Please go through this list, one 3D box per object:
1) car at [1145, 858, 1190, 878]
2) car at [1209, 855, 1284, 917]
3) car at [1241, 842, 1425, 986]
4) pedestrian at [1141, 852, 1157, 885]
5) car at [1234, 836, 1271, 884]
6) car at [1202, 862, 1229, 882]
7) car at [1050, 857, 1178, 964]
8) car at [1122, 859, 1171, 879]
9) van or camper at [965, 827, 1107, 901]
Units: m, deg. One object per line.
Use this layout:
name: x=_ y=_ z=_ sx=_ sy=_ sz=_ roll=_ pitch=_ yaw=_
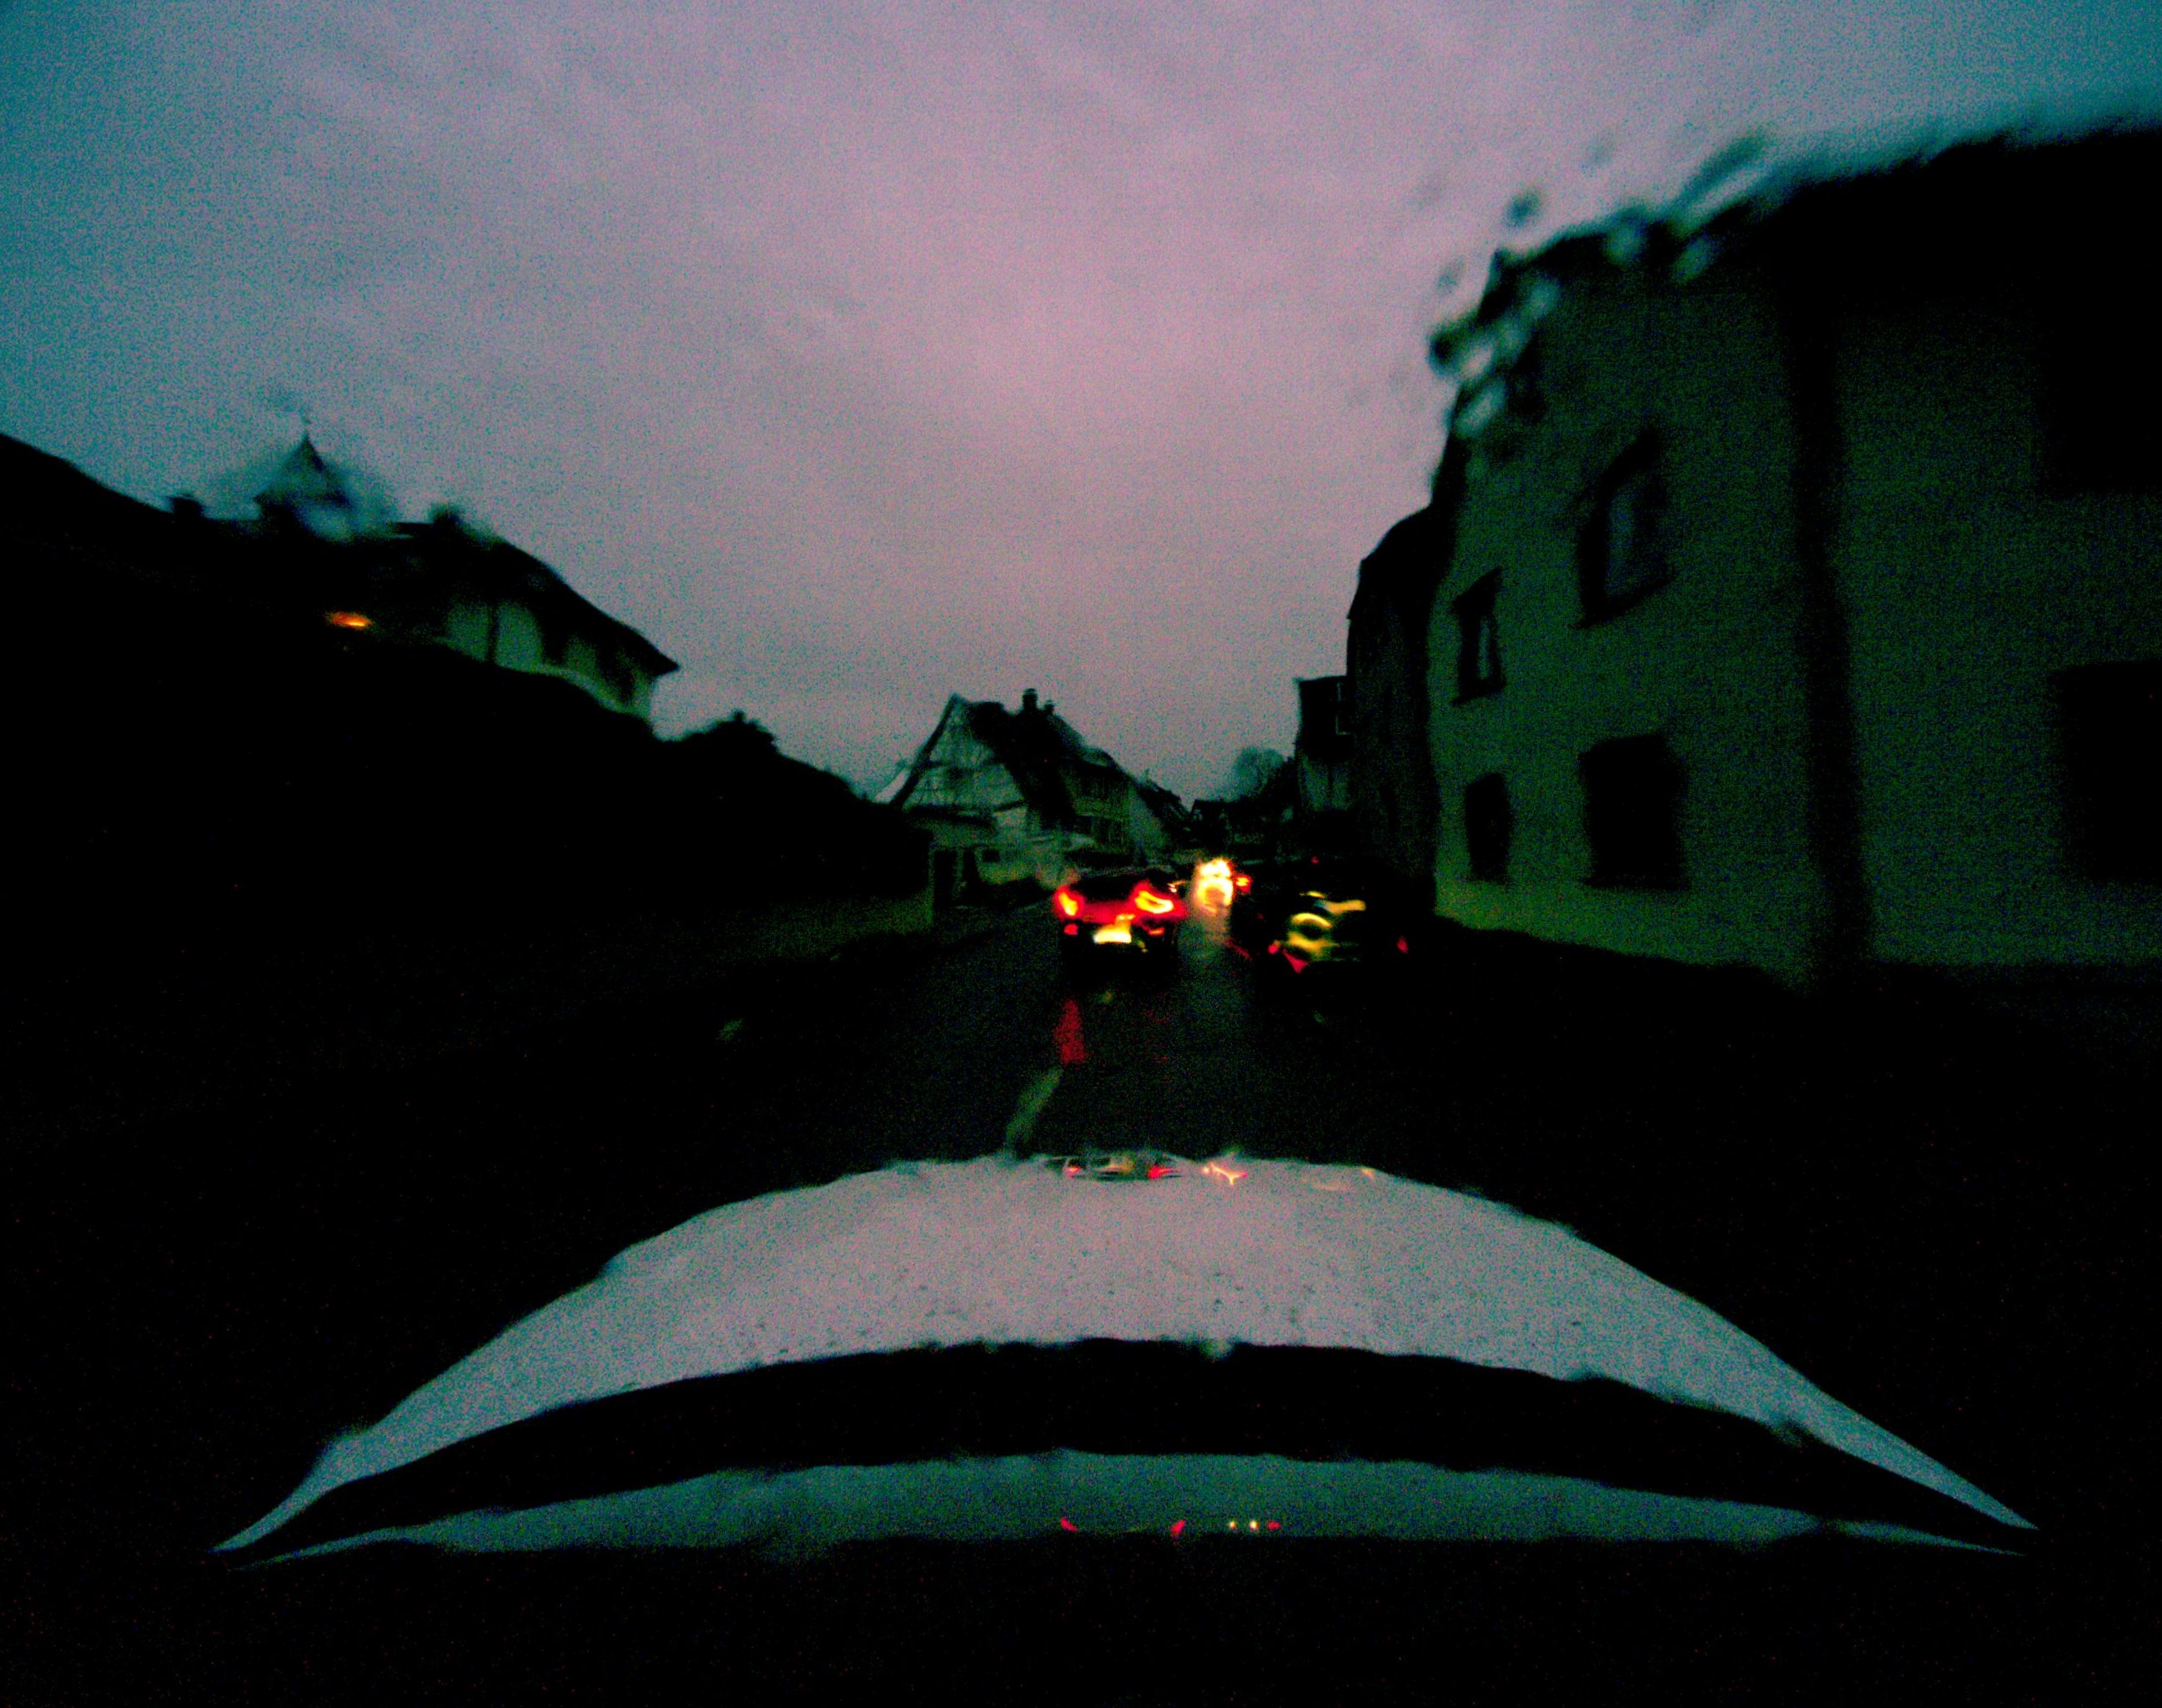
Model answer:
car: x=7.097 y=1.159 z=66.827 sx=3.485 sy=1.507 sz=1.697 roll=-1 pitch=-1 yaw=11
car: x=4.535 y=0.823 z=22.494 sx=1.787 sy=1.534 sz=4.012 roll=-2 pitch=-1 yaw=11
car: x=3.323 y=0.716 z=11.553 sx=1.837 sy=1.637 sz=4.346 roll=-1 pitch=-1 yaw=8
pedestrian: x=4.351 y=0.918 z=51.859 sx=0.868 sy=2.014 sz=0.797 roll=-2 pitch=-1 yaw=9
car: x=9.182 y=0.296 z=43.600 sx=1.802 sy=2.413 sz=3.763 roll=-2 pitch=-1 yaw=12
car: x=10.288 y=1.345 z=62.175 sx=1.856 sy=1.402 sz=4.379 roll=-2 pitch=-1 yaw=11
car: x=0.631 y=0.806 z=13.374 sx=1.787 sy=1.477 sz=4.005 roll=0 pitch=-1 yaw=5
car: x=5.197 y=1.219 z=64.573 sx=3.480 sy=1.507 sz=1.700 roll=-1 pitch=-1 yaw=17
van or camper: x=-2.097 y=0.494 z=38.542 sx=6.016 sy=2.955 sz=2.416 roll=-5 pitch=-2 yaw=15
